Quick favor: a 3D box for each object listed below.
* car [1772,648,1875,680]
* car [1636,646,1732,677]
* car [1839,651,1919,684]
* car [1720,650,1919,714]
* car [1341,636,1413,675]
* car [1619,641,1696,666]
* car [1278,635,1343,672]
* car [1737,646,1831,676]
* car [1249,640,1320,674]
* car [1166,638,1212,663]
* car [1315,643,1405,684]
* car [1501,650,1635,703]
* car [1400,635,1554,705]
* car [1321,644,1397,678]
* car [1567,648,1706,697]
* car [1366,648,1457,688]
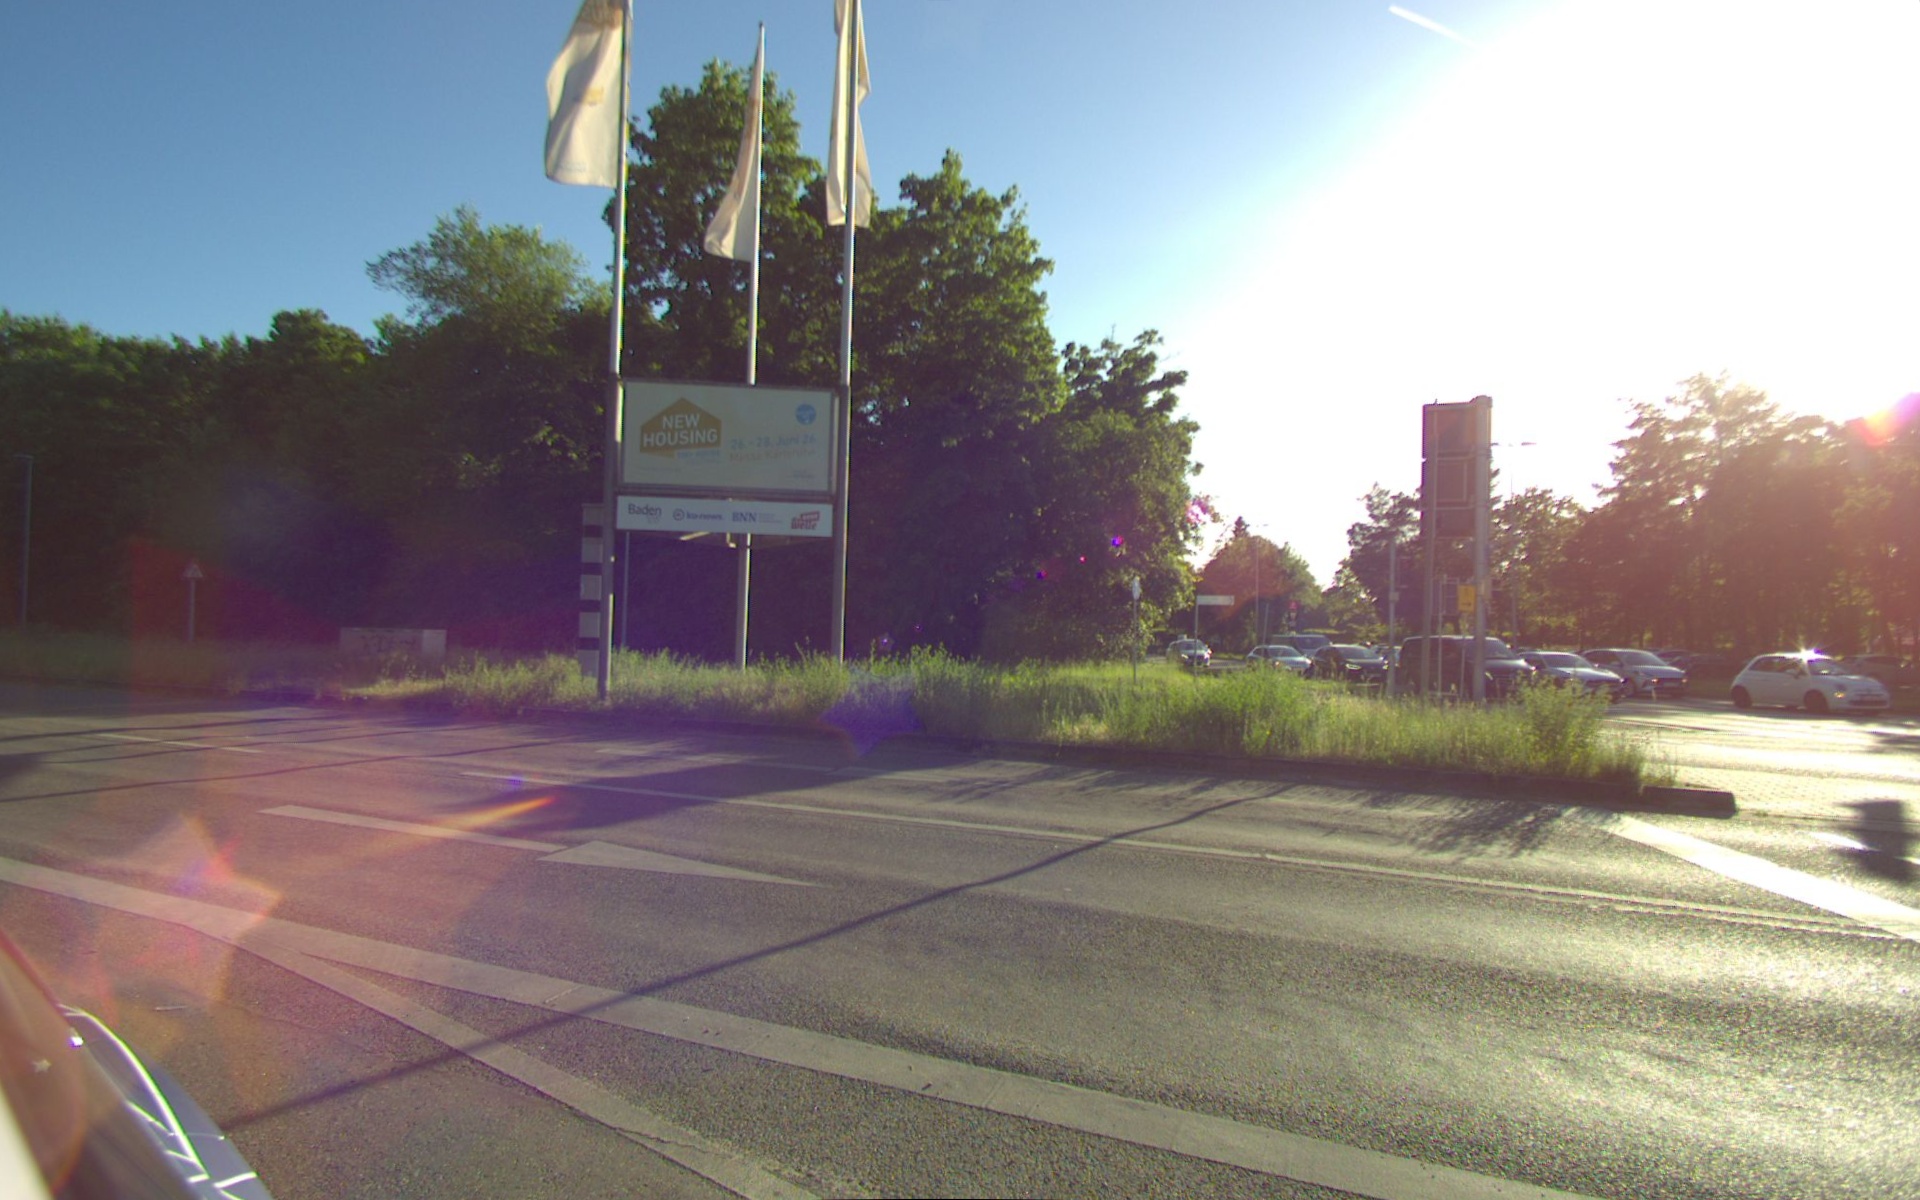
[{"bbox_3d":[47.628,3.531,55.894,3.929,1.612,1.807,1,-2,12],"label":"car"},{"bbox_3d":[41.294,3.495,57.776,3.953,1.631,1.938,1,-2,8],"label":"car"},{"bbox_3d":[48.433,3.505,52.314,4.107,1.612,1.807,1,-2,12],"label":"car"},{"bbox_3d":[21.763,2.029,25.756,1.901,1.400,3.800,1,-2,-1],"label":"car"},{"bbox_3d":[20.178,2.646,49.092,1.827,1.772,3.800,1,-2,-1],"label":"car"},{"bbox_3d":[47.710,3.662,69.301,3.929,1.612,1.807,1,-2,12],"label":"car"},{"bbox_3d":[17.505,2.649,50.741,1.827,1.772,3.800,1,-2,-1],"label":"car"},{"bbox_3d":[49.106,3.626,60.376,3.929,1.612,1.807,1,-2,12],"label":"car"},{"bbox_3d":[14.248,2.483,44.648,1.827,1.400,3.800,1,-2,-1],"label":"car"},{"bbox_3d":[13.861,3.021,61.355,1.827,1.400,3.800,1,-2,-1],"label":"car"},{"bbox_3d":[15.125,2.369,38.477,1.827,1.400,3.800,1,-2,-1],"label":"car"},{"bbox_3d":[18.094,2.235,30.313,1.624,1.400,3.800,1,-2,-1],"label":"car"},{"bbox_3d":[15.098,1.980,29.916,1.901,1.844,4.935,1,-2,-2],"label":"car"},{"bbox_3d":[17.827,2.715,45.411,1.827,1.400,3.800,1,-2,-1],"label":"car"},{"bbox_3d":[21.666,2.296,32.608,1.827,1.400,3.800,1,-2,-1],"label":"car"},{"bbox_3d":[17.805,2.657,40.086,1.827,1.400,3.800,1,-2,-1],"label":"car"}]
